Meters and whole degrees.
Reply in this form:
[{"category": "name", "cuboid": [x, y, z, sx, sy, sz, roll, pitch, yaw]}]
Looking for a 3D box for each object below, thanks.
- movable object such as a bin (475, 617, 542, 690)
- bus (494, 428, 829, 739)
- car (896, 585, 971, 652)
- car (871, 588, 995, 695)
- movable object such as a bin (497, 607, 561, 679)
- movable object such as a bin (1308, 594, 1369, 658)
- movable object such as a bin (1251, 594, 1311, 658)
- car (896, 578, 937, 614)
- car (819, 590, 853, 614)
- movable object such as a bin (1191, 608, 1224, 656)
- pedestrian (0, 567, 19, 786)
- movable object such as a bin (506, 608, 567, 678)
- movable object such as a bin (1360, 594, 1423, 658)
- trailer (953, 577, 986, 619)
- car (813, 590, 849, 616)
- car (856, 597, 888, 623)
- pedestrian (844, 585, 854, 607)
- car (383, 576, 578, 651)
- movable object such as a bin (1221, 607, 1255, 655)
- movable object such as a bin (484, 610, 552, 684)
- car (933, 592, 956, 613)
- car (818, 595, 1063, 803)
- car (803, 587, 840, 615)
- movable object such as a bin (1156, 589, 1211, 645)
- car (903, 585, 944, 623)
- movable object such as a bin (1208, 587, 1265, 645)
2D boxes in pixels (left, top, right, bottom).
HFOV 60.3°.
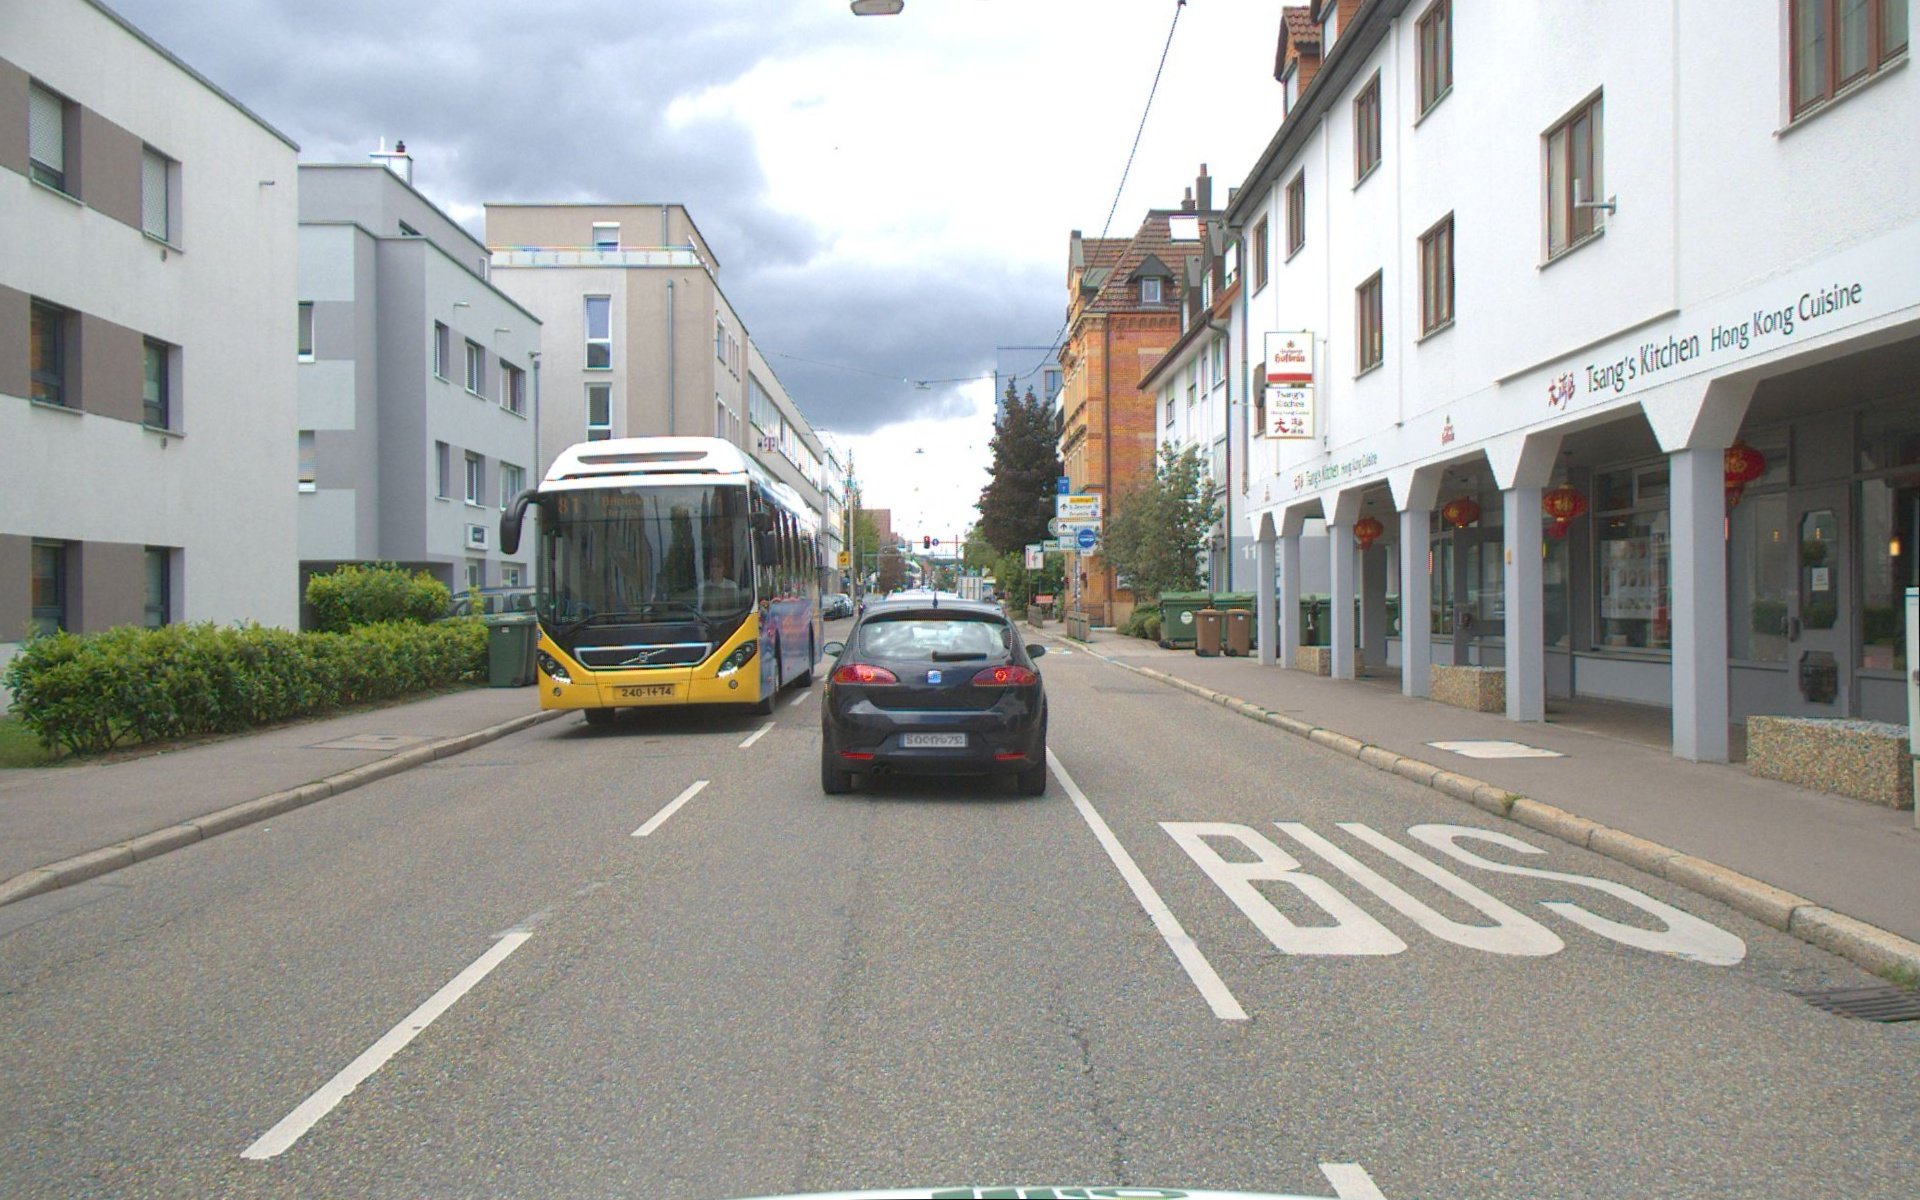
[{"category": "movable object such as a bin", "cuboid": [-7.079, 0.833, 25.963, 0.877, 1.108, 0.792, 0, 0, -6]}, {"category": "bus", "cuboid": [-3.747, -0.224, 24.169, 2.883, 3.331, 12.005, -2, 0, -1]}, {"category": "car", "cuboid": [-0.684, 0.436, 41.173, 1.767, 1.580, 3.736, 0, 0, -2]}, {"category": "car", "cuboid": [-0.431, 0.588, 25.471, 1.767, 1.519, 3.736, 0, 0, -2]}, {"category": "movable object such as a bin", "cuboid": [-7.196, 0.706, 27.646, 0.930, 1.171, 0.748, 0, 0, -6]}, {"category": "movable object such as a bin", "cuboid": [8.784, 0.592, 38.444, 1.184, 1.442, 1.260, 0, 0, 3]}, {"category": "movable object such as a bin", "cuboid": [7.449, 0.596, 38.434, 1.184, 1.442, 1.260, 0, 0, 3]}, {"category": "car", "cuboid": [-1.968, -0.171, 74.565, 1.767, 1.580, 3.736, 0, 0, -2]}, {"category": "car", "cuboid": [-7.959, 0.127, 106.450, 1.953, 1.543, 4.173, 0, 0, -2]}, {"category": "movable object such as a bin", "cuboid": [5.798, 0.746, 38.778, 0.669, 1.086, 0.972, 0, 0, 3]}, {"category": "pedestrian", "cuboid": [-7.655, 0.584, 12.781, 0.630, 1.671, 0.516, 0, 0, -27]}, {"category": "movable object such as a bin", "cuboid": [-7.254, 0.734, 28.370, 0.922, 1.171, 0.612, 0, 0, -6]}, {"category": "movable object such as a bin", "cuboid": [10.016, 0.592, 38.430, 1.184, 1.442, 1.260, 0, 0, 3]}, {"category": "trailer", "cuboid": [0.609, -0.148, 106.765, 1.953, 2.653, 5.347, 0, 0, -2]}, {"category": "car", "cuboid": [-7.834, 0.154, 100.882, 1.953, 1.543, 4.173, 0, 0, -2]}, {"category": "car", "cuboid": [-5.529, 0.630, 104.258, 1.840, 1.476, 4.213, -3, 0, -1]}, {"category": "pedestrian", "cuboid": [-9.706, -0.349, 144.702, 0.899, 1.901, 0.783, 0, 0, -2]}, {"category": "car", "cuboid": [-11.274, 0.324, 39.028, 4.076, 1.697, 1.725, -1, 0, 2]}, {"category": "movable object such as a bin", "cuboid": [6.513, 0.729, 38.765, 0.683, 1.098, 0.972, 0, 0, 3]}, {"category": "movable object such as a bin", "cuboid": [-7.156, 0.749, 26.818, 0.937, 1.171, 0.839, 0, 0, -6]}, {"category": "car", "cuboid": [-1.226, 0.163, 131.771, 1.767, 1.629, 3.736, 1, 0, -2]}, {"category": "car", "cuboid": [-0.167, 0.690, 13.598, 1.730, 1.458, 3.827, 0, 0, -1]}, {"category": "car", "cuboid": [-7.925, 0.070, 95.013, 1.874, 1.543, 4.173, -1, 0, -2]}, {"category": "movable object such as a bin", "cuboid": [5.761, 0.431, 42.699, 1.241, 1.442, 1.162, 0, 0, -1]}, {"category": "car", "cuboid": [-1.658, 0.165, 74.607, 1.767, 1.629, 3.736, 1, 0, -2]}, {"category": "movable object such as a bin", "cuboid": [7.091, 0.405, 42.463, 1.241, 1.460, 1.307, 0, 0, -1]}]
